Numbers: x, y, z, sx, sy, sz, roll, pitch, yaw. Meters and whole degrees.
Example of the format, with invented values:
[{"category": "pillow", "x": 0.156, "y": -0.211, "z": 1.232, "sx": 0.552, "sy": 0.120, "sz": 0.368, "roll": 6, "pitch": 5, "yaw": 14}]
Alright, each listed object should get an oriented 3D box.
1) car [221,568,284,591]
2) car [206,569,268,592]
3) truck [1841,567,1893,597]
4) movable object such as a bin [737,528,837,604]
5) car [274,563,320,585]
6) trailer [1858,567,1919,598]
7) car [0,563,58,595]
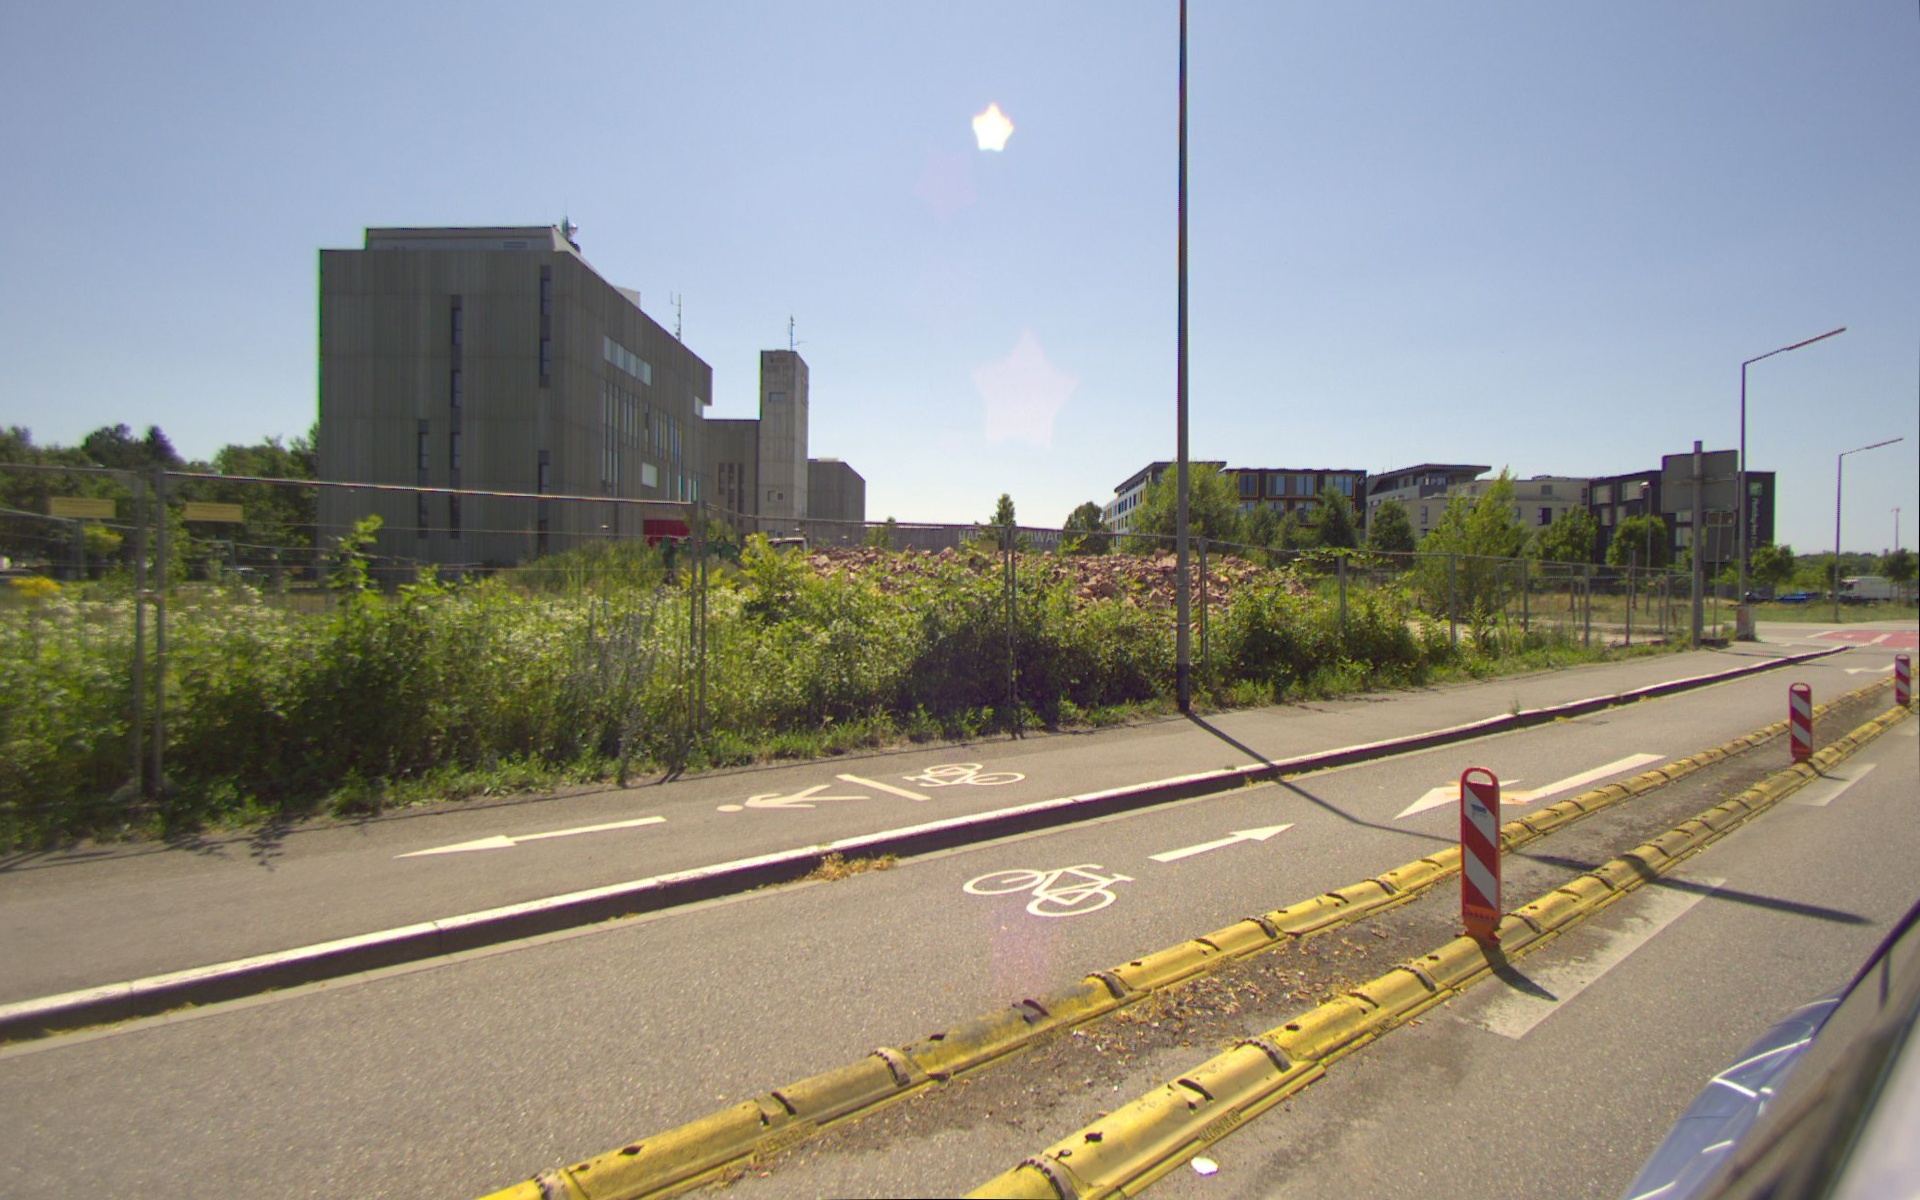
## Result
[{"category": "car", "x": -54.348, "y": -1.550, "z": 77.825, "sx": 1.778, "sy": 1.772, "sz": 3.992, "roll": 0, "pitch": 1, "yaw": 8}, {"category": "car", "x": -57.412, "y": -1.569, "z": 80.396, "sx": 1.778, "sy": 1.772, "sz": 3.992, "roll": 0, "pitch": 1, "yaw": 8}, {"category": "truck", "x": 103.723, "y": -2.065, "z": 115.720, "sx": 3.928, "sy": 3.377, "sz": 1.998, "roll": 1, "pitch": 1, "yaw": 4}, {"category": "movable object such as a bin", "x": -7.378, "y": -1.413, "z": 43.230, "sx": 3.619, "sy": 3.101, "sz": 2.207, "roll": 0, "pitch": 0, "yaw": -35}, {"category": "car", "x": -65.064, "y": -2.547, "z": 99.347, "sx": 1.961, "sy": 2.039, "sz": 4.002, "roll": 0, "pitch": 1, "yaw": -2}, {"category": "trailer", "x": 107.519, "y": -1.980, "z": 115.413, "sx": 8.030, "sy": 3.391, "sz": 1.998, "roll": 1, "pitch": 1, "yaw": 5}, {"category": "car", "x": -54.418, "y": -1.171, "z": 58.004, "sx": 1.775, "sy": 1.772, "sz": 3.997, "roll": 0, "pitch": 1, "yaw": 3}]
